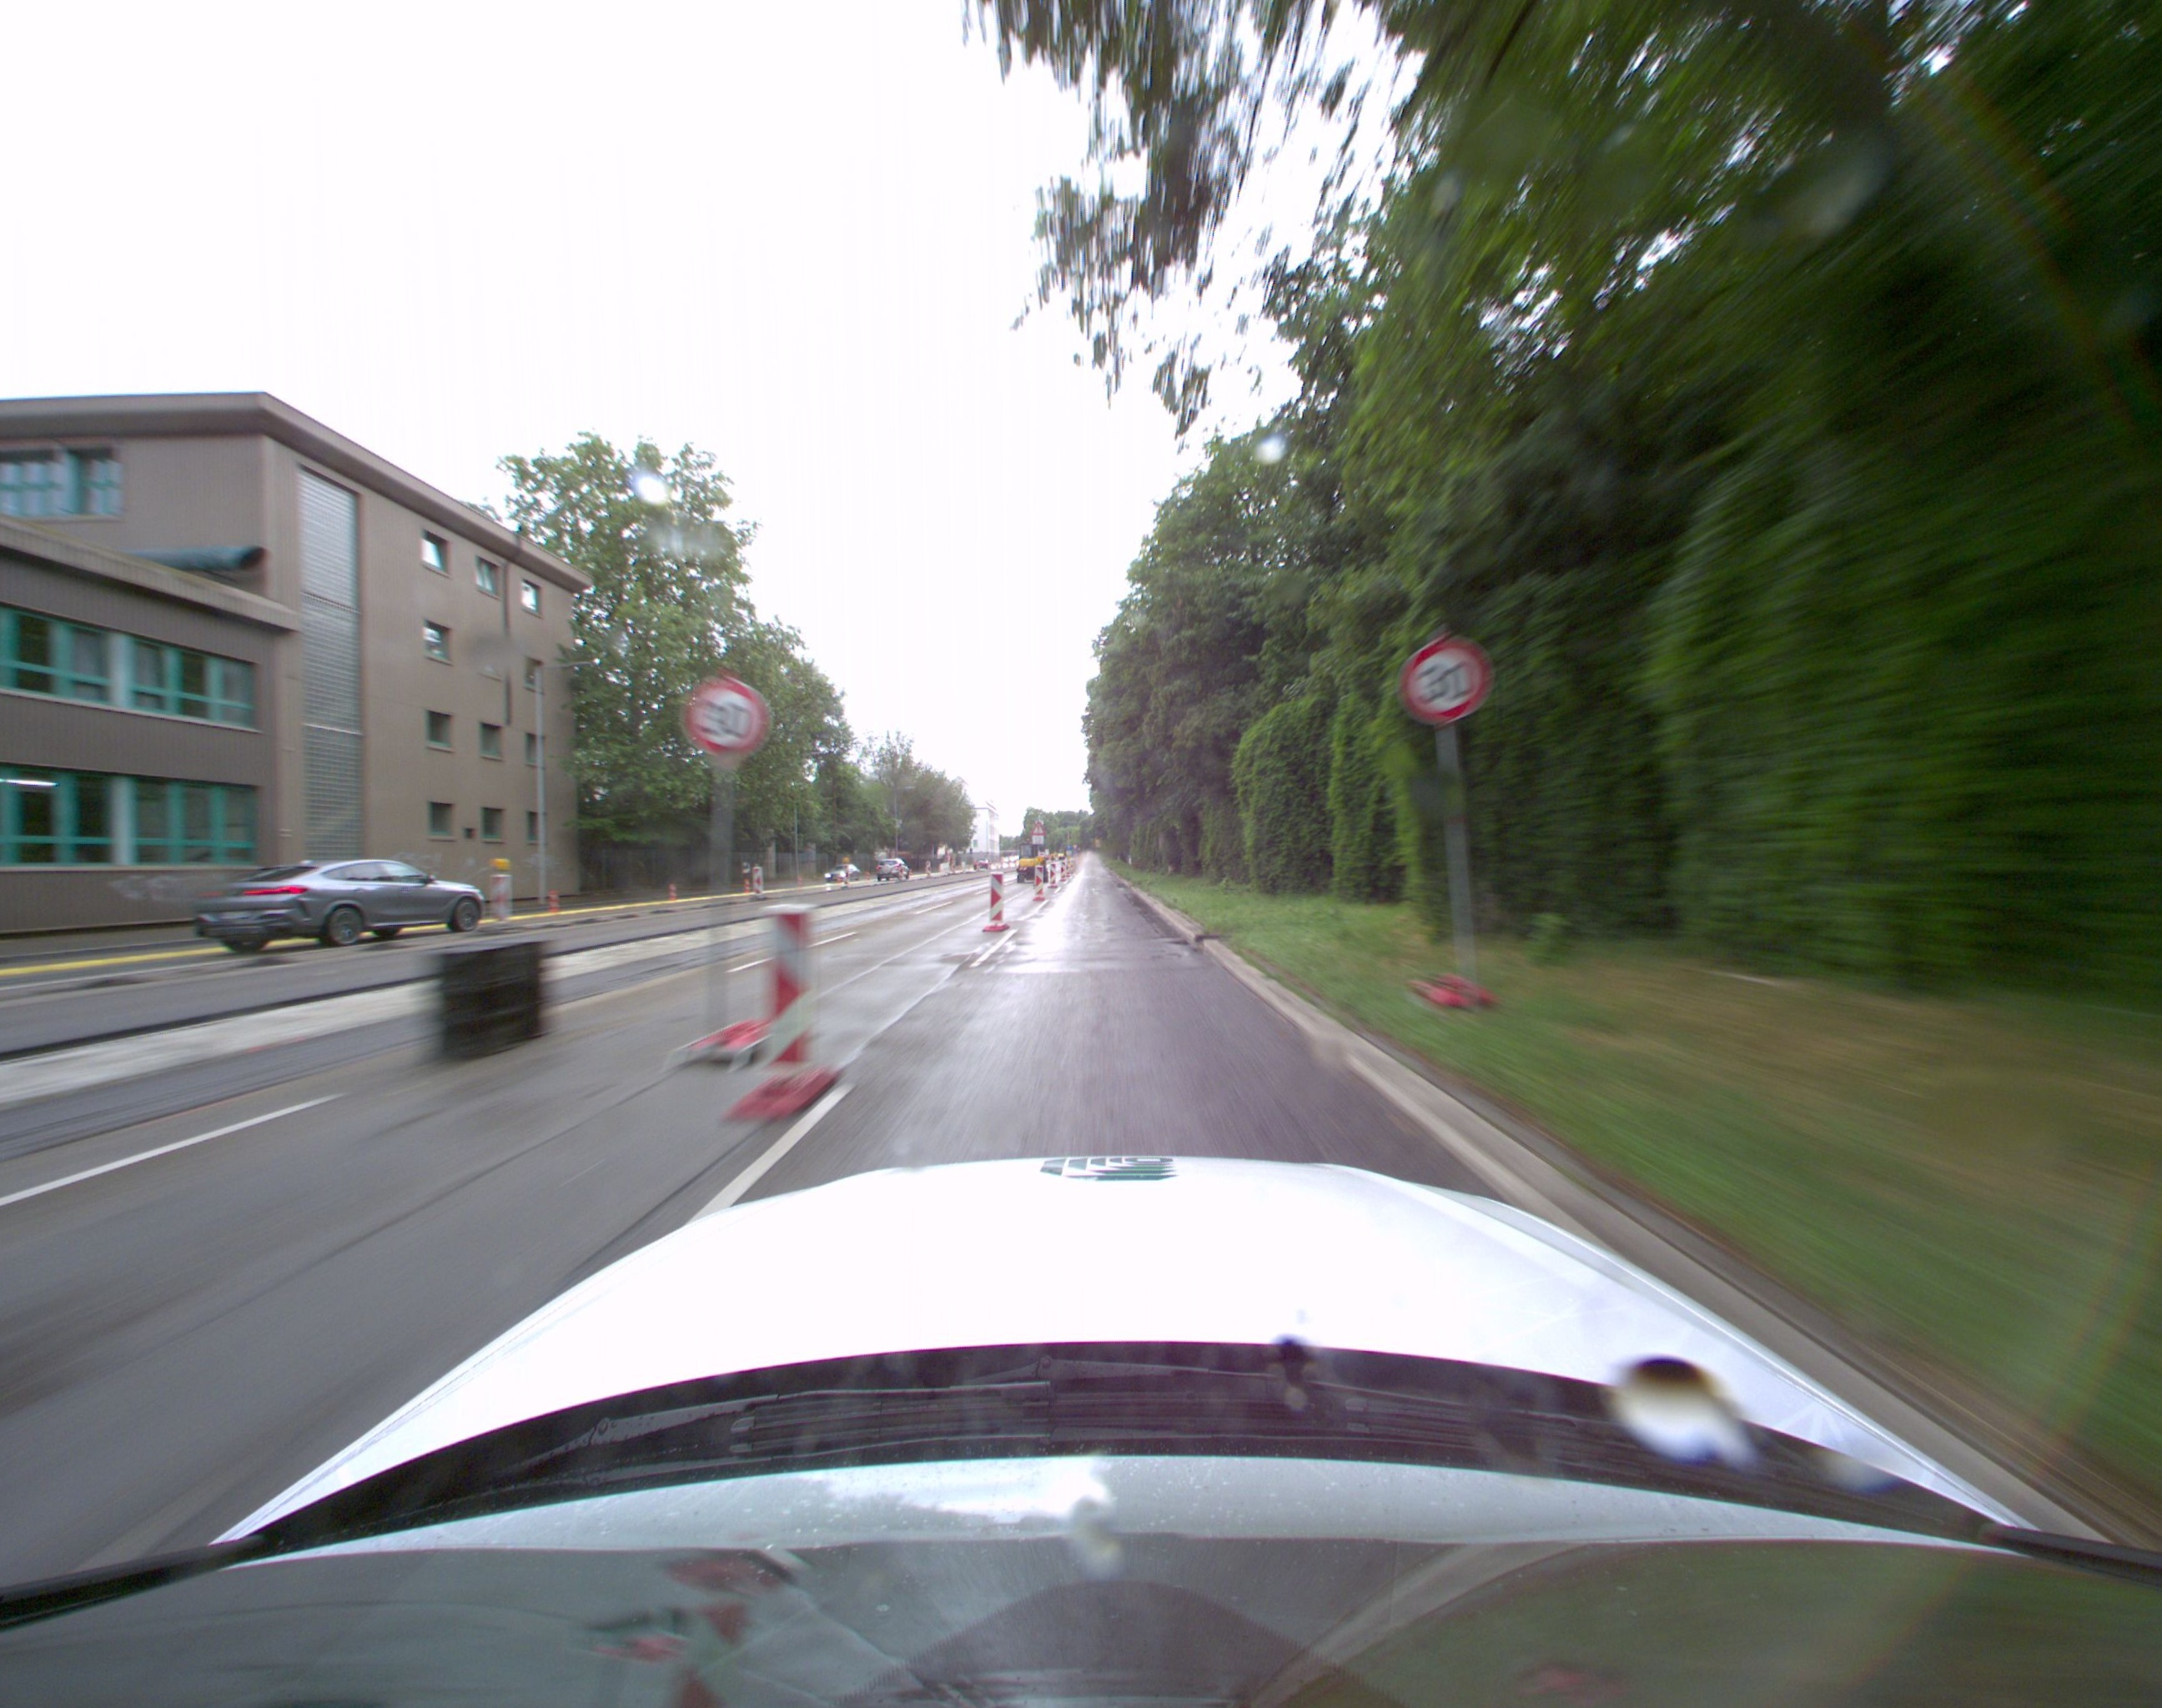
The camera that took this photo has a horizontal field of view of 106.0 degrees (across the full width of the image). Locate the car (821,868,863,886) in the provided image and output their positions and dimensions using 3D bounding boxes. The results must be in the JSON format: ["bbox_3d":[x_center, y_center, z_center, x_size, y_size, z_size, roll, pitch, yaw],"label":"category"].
[{"bbox_3d":[-19.639,1.890,67.199,1.986,1.348,4.791,-1,0,1],"label":"car"}]

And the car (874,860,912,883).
[{"bbox_3d":[-14.206,1.260,61.635,1.848,1.648,4.000,-1,0,1],"label":"car"}]

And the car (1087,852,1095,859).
[{"bbox_3d":[2.765,0.453,221.194,1.986,1.673,4.001,-1,0,1],"label":"car"}]

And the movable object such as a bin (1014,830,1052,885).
[{"bbox_3d":[-3.105,0.241,53.730,1.986,3.367,5.983,-1,0,1],"label":"movable object such as a bin"}]

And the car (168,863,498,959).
[{"bbox_3d":[-14.806,1.013,16.677,2.070,1.613,5.055,-1,0,0],"label":"car"}]

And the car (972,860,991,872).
[{"bbox_3d":[-13.456,1.612,110.481,1.987,1.519,4.000,-1,0,0],"label":"car"}]
